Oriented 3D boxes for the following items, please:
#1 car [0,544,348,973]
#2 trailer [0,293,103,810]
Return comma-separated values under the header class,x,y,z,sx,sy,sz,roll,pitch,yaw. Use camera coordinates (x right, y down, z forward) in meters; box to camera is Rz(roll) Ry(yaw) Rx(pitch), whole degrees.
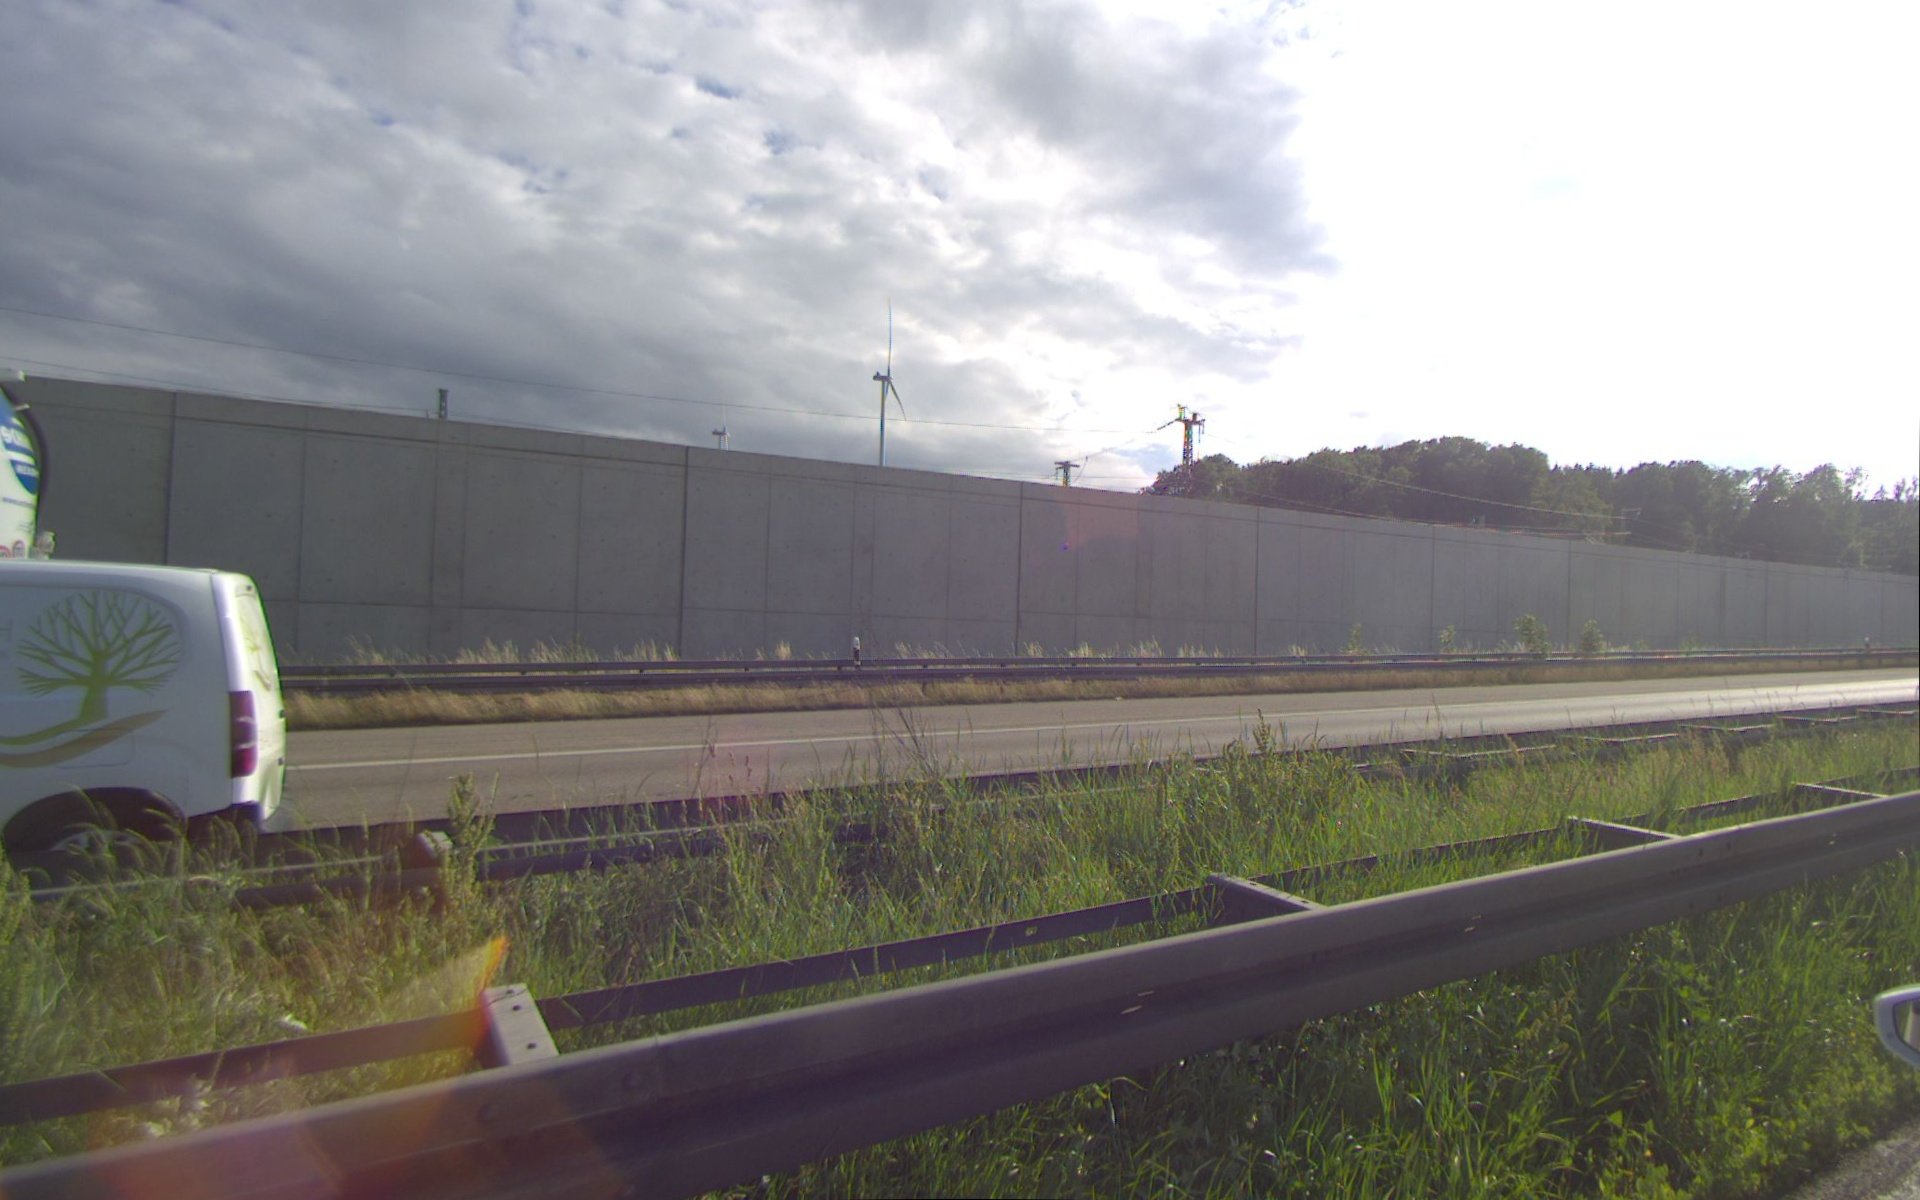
class,x,y,z,sx,sy,sz,roll,pitch,yaw
car,-5.403,0.650,4.693,4.230,1.858,1.851,2,0,-30
trailer,-12.900,-0.532,5.264,12.402,3.820,2.527,2,-2,-32
